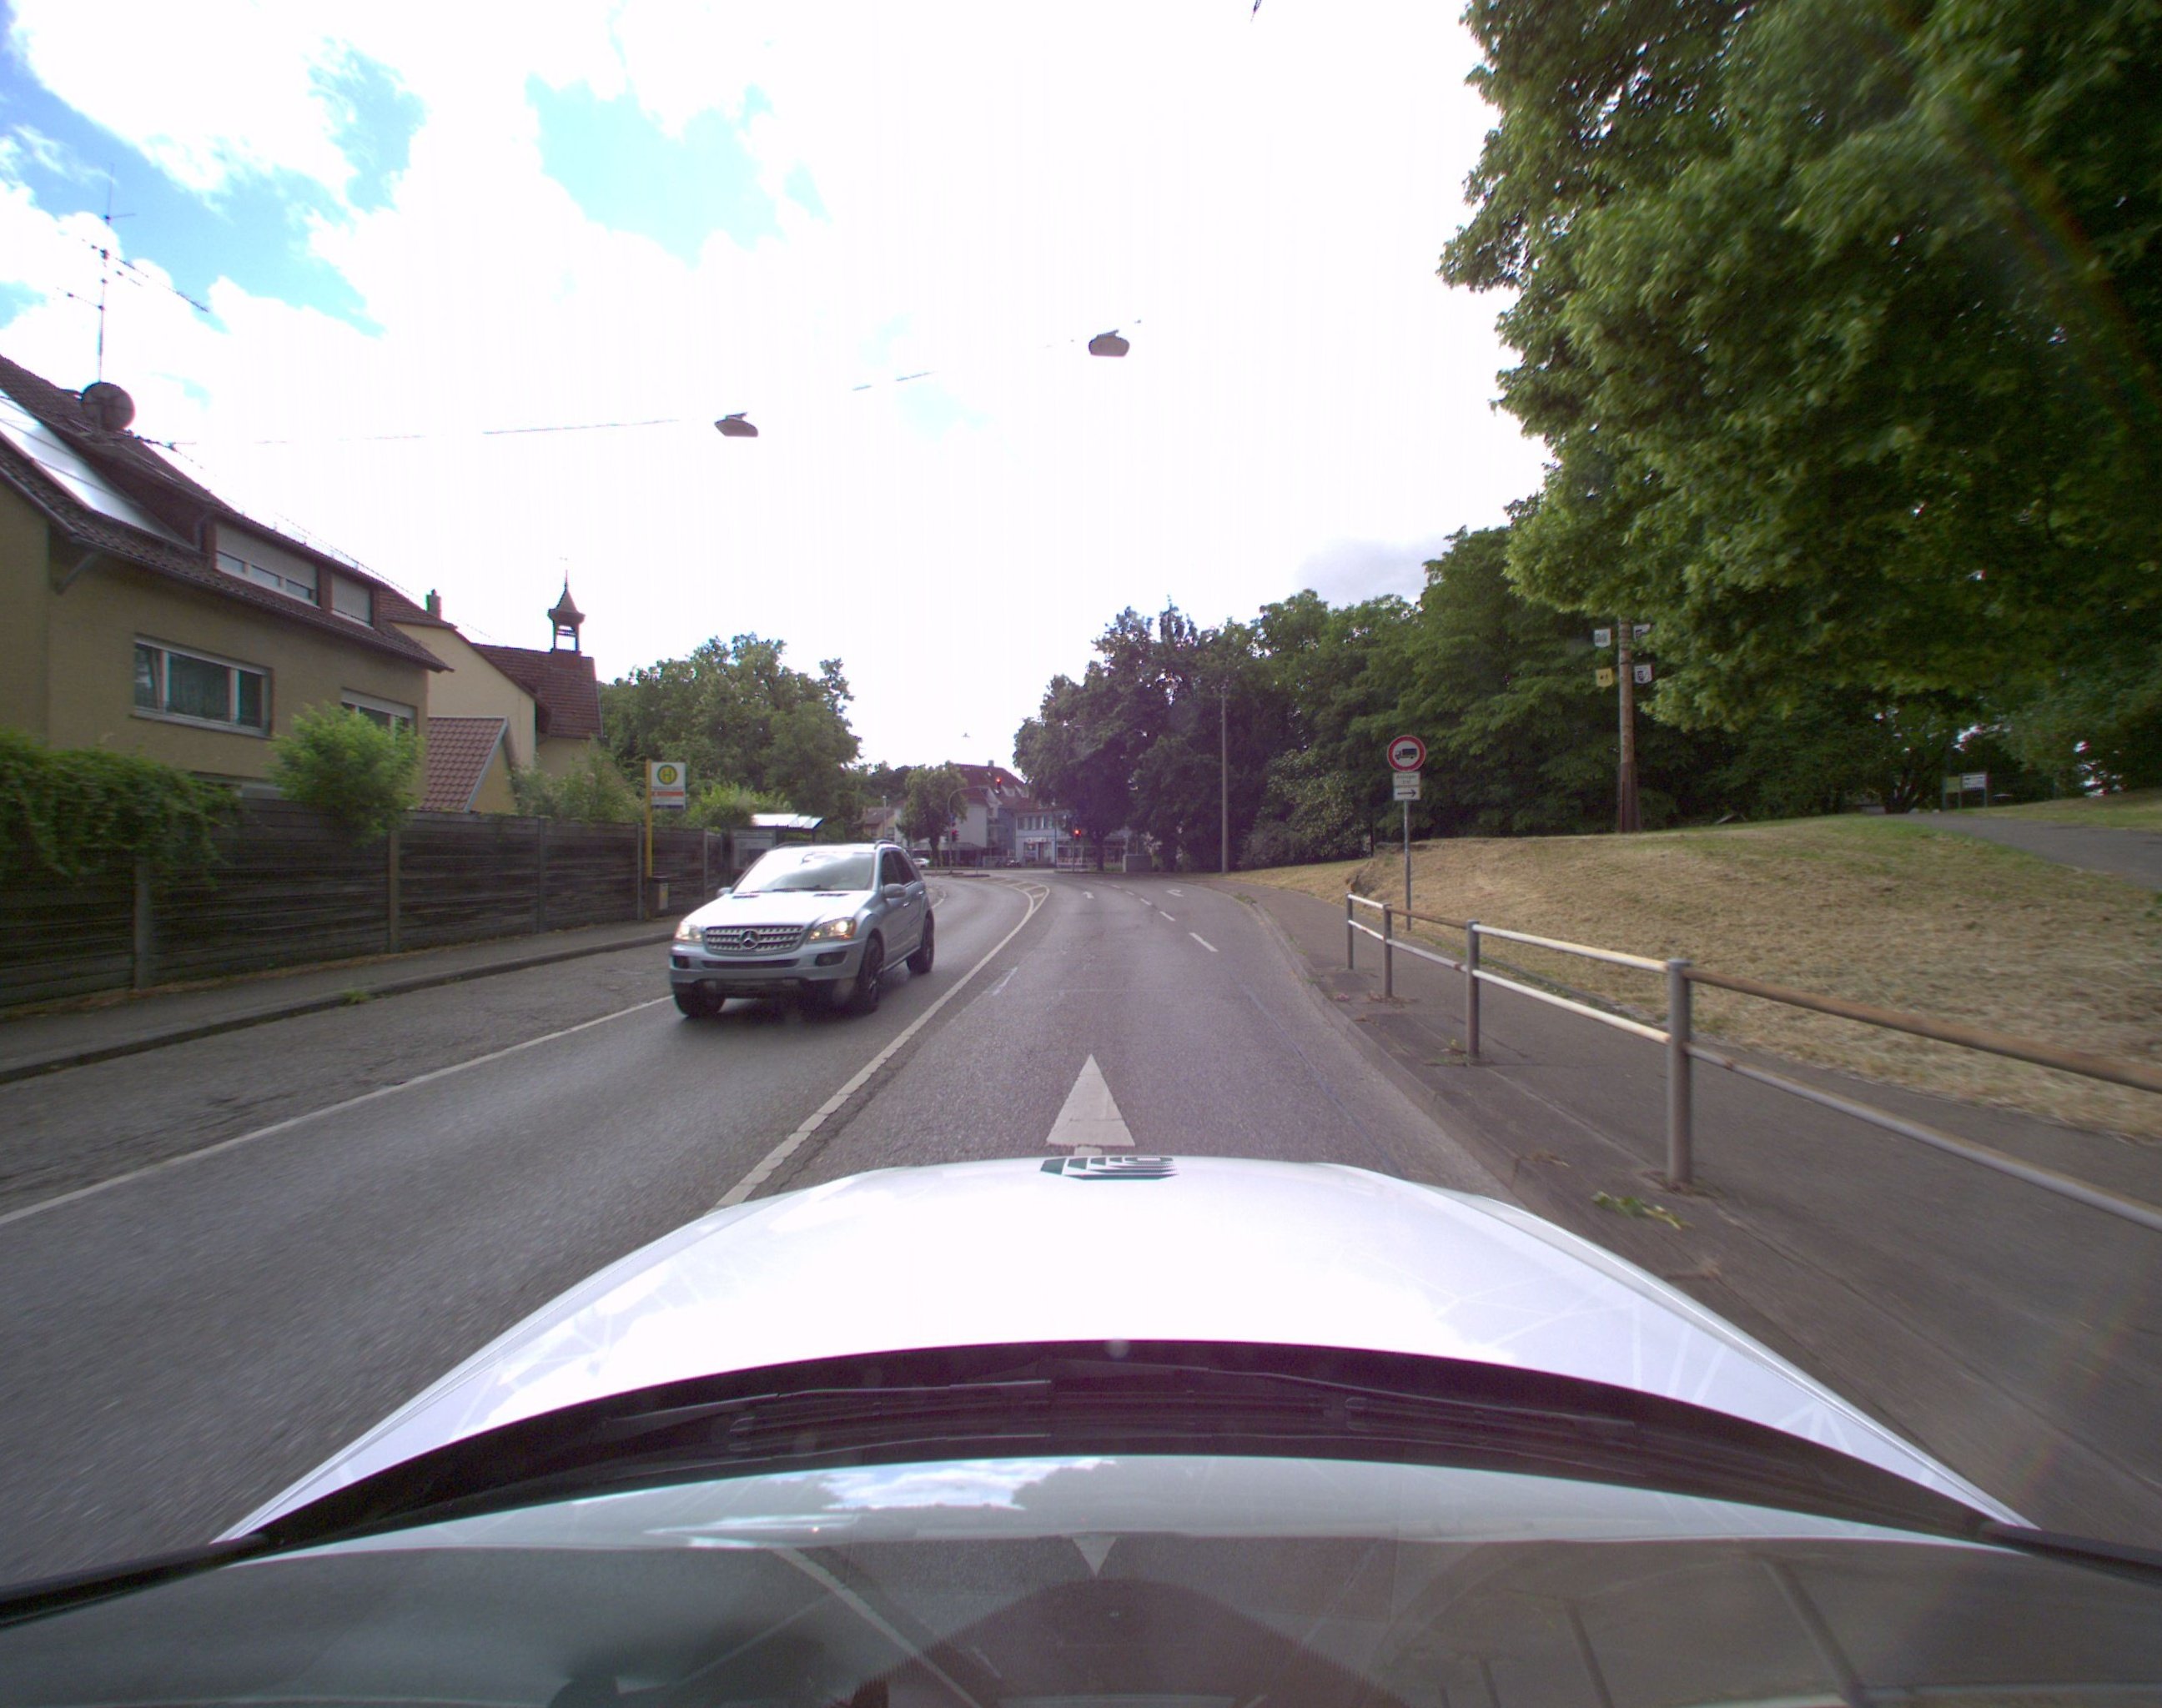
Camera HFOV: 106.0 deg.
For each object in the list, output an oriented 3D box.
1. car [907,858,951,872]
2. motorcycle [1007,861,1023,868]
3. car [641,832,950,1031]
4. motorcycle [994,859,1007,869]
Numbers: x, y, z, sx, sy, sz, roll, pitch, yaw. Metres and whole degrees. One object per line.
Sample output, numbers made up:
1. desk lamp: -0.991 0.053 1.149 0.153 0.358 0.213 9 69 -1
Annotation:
1. car: -17.652 1.246 94.742 4.543 1.517 2.008 -2 0 15
2. motorcycle: -8.209 1.317 101.059 1.822 0.848 0.563 -2 5 17
3. car: -2.919 0.689 9.591 1.929 1.724 4.691 -1 0 0
4. motorcycle: -10.069 1.243 102.317 1.484 1.106 0.563 -2 5 14
